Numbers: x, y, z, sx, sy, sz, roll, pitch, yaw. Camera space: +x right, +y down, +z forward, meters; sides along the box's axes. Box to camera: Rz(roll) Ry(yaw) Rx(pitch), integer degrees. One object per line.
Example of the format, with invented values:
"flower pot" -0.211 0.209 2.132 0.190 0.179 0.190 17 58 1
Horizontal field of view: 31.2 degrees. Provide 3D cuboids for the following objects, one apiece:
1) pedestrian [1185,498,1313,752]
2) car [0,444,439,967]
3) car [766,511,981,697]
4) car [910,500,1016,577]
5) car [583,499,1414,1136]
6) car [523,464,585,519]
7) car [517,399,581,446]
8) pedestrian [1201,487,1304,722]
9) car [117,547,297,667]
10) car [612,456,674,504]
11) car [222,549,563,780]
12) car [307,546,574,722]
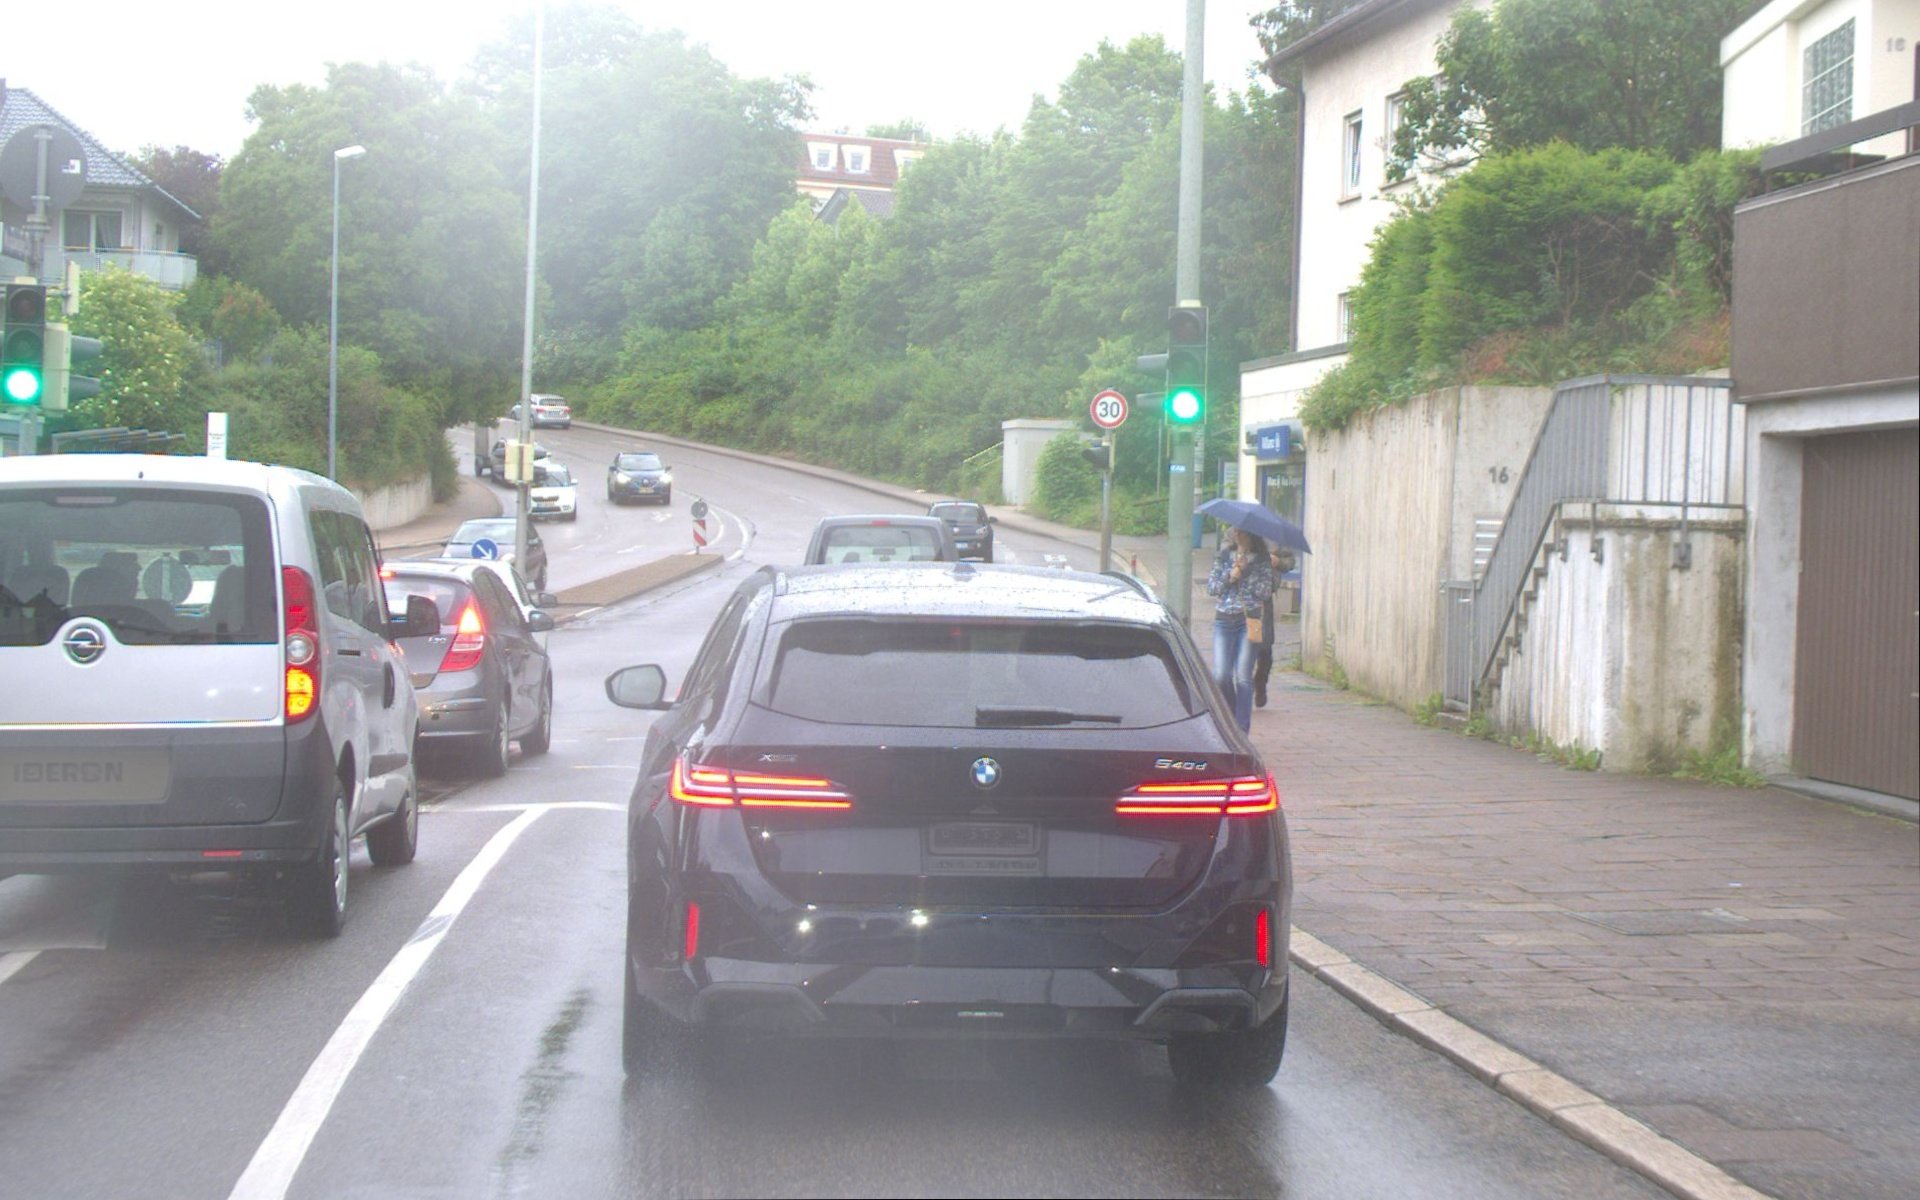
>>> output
"pedestrian" 2.069 0.170 24.717 0.793 1.774 1.011 -1 0 -1
"car" -3.392 0.341 14.644 1.951 1.864 4.747 0 1 -4
"car" -0.922 0.010 34.314 1.993 1.742 4.001 0 1 -4
"car" 0.046 -1.461 80.449 1.851 1.656 4.001 1 2 -9
"car" -0.141 0.571 11.003 1.993 1.581 4.664 1 0 -7
"car" -12.635 -3.368 107.135 1.823 1.651 4.467 0 1 -6
"car" -19.032 -8.176 158.973 1.993 2.007 4.001 0 1 -21
"pedestrian" 2.538 0.034 29.885 0.797 2.007 0.734 1 0 -1
"car" -10.216 0.073 46.946 1.835 1.551 4.771 0 0 -5
"car" -10.587 -3.991 114.608 1.840 1.546 4.385 0 1 -8
"car" -3.902 0.394 24.257 1.835 1.482 4.059 0 1 -1
"car" -4.776 0.268 32.209 1.908 1.523 4.652 0 1 -2
